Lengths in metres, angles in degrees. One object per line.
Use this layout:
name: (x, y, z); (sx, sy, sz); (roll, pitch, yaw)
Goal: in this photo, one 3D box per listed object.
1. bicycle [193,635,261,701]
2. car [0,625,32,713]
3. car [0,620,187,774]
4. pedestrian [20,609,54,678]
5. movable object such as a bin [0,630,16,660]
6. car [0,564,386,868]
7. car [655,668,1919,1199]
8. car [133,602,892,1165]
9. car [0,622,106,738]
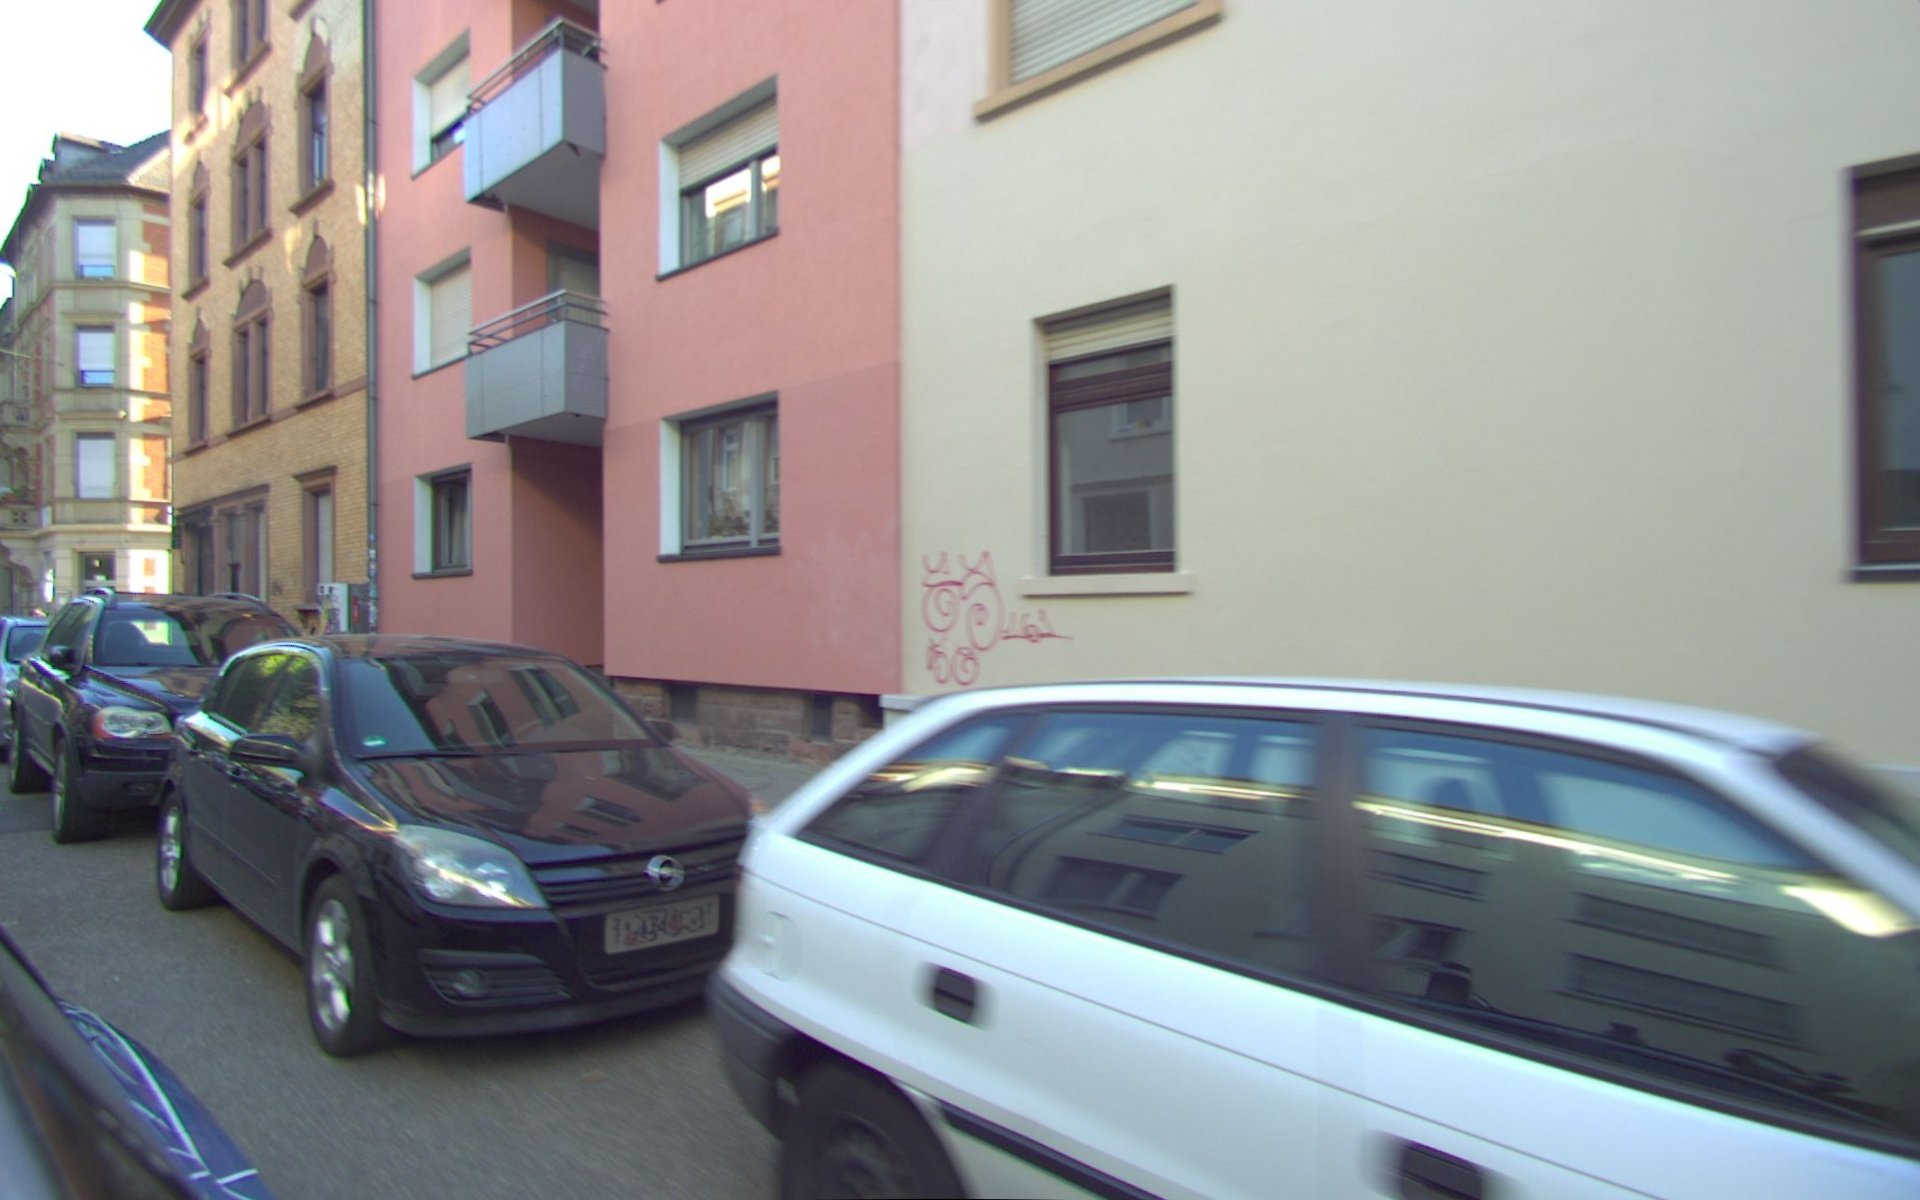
bicycle: (-13.103, 1.185, 18.068); (1.890, 1.082, 0.528); (-1, 2, 41)
car: (-17.973, 1.184, 18.044); (3.598, 1.492, 1.611); (-2, -4, 40)
car: (-10.539, 1.034, 11.868); (3.943, 1.533, 1.638); (-2, -4, 43)
pedestrian: (-22.886, 1.074, 25.084); (0.717, 1.656, 0.542); (1, 1, 40)
movable object such as a bin: (-34.581, 1.612, 36.514); (0.855, 1.049, 0.631); (-1, 0, 40)
car: (-6.517, 0.784, 8.332); (4.671, 1.825, 1.724); (-2, -4, 43)
car: (1.390, 0.869, 1.715); (4.179, 1.399, 1.656); (-2, -4, 41)
car: (-2.452, 0.850, 4.878); (4.345, 1.518, 1.724); (-2, -4, 43)
car: (-14.041, 1.106, 14.908); (4.095, 1.533, 1.677); (-2, -4, 43)
